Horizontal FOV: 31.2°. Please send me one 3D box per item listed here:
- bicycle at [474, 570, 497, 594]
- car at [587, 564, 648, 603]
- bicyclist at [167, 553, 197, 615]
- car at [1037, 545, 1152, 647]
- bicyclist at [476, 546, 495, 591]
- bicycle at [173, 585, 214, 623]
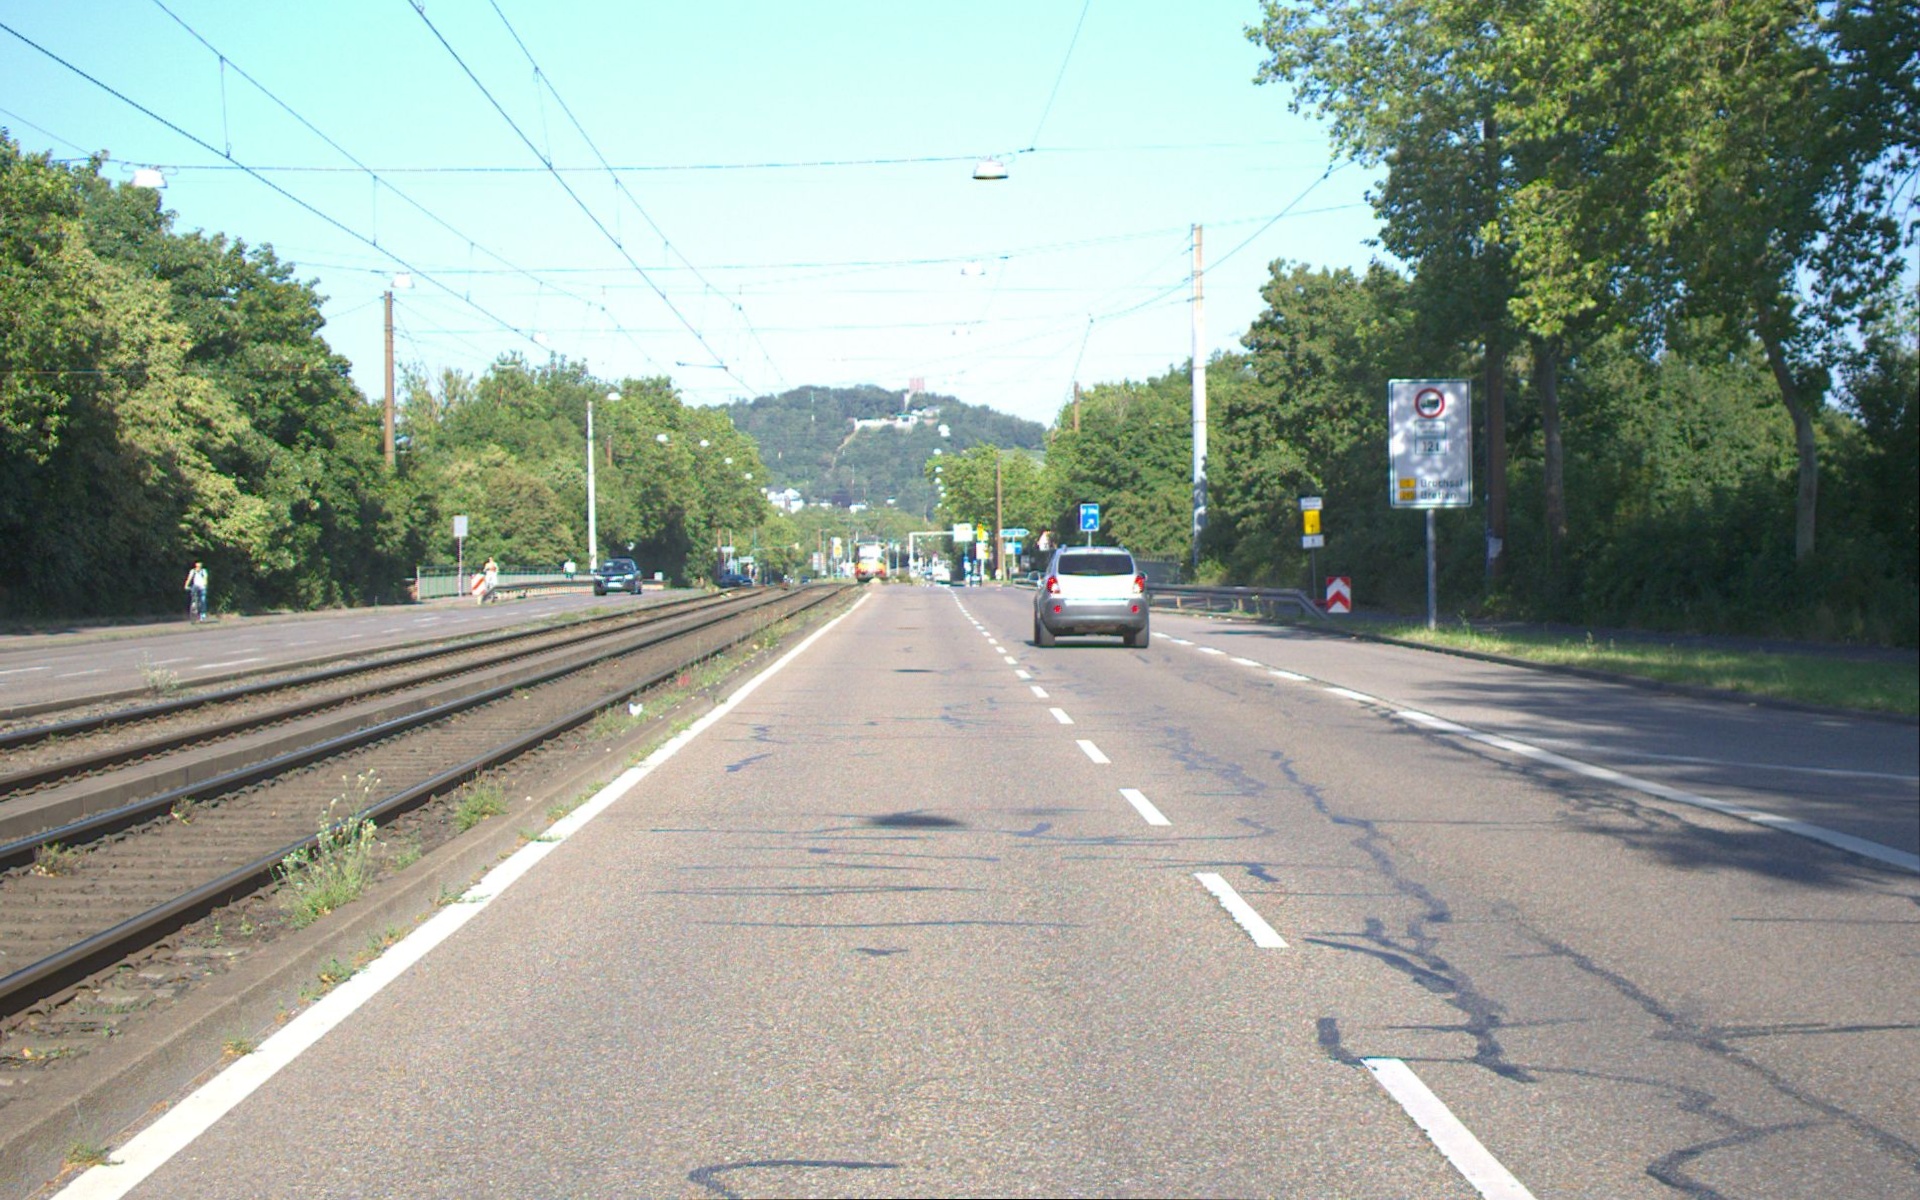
[{"bbox_3d":[-17.809,-0.686,129.062,0.507,0.889,2.027,1,0,2],"label":"bicycle"},{"bbox_3d":[-15.437,-0.760,155.159,1.994,1.680,4.795,-2,0,3],"label":"car"},{"bbox_3d":[-21.169,-0.439,93.552,0.550,1.684,0.820,1,0,3],"label":"bicyclist"},{"bbox_3d":[2.290,-0.086,58.959,1.888,1.688,4.256,0,0,2],"label":"car"},{"bbox_3d":[-17.801,-1.172,129.041,0.507,1.681,0.919,1,0,2],"label":"bicyclist"},{"bbox_3d":[-20.882,0.100,93.633,0.550,0.982,2.239,4,0,0],"label":"bicycle"}]
